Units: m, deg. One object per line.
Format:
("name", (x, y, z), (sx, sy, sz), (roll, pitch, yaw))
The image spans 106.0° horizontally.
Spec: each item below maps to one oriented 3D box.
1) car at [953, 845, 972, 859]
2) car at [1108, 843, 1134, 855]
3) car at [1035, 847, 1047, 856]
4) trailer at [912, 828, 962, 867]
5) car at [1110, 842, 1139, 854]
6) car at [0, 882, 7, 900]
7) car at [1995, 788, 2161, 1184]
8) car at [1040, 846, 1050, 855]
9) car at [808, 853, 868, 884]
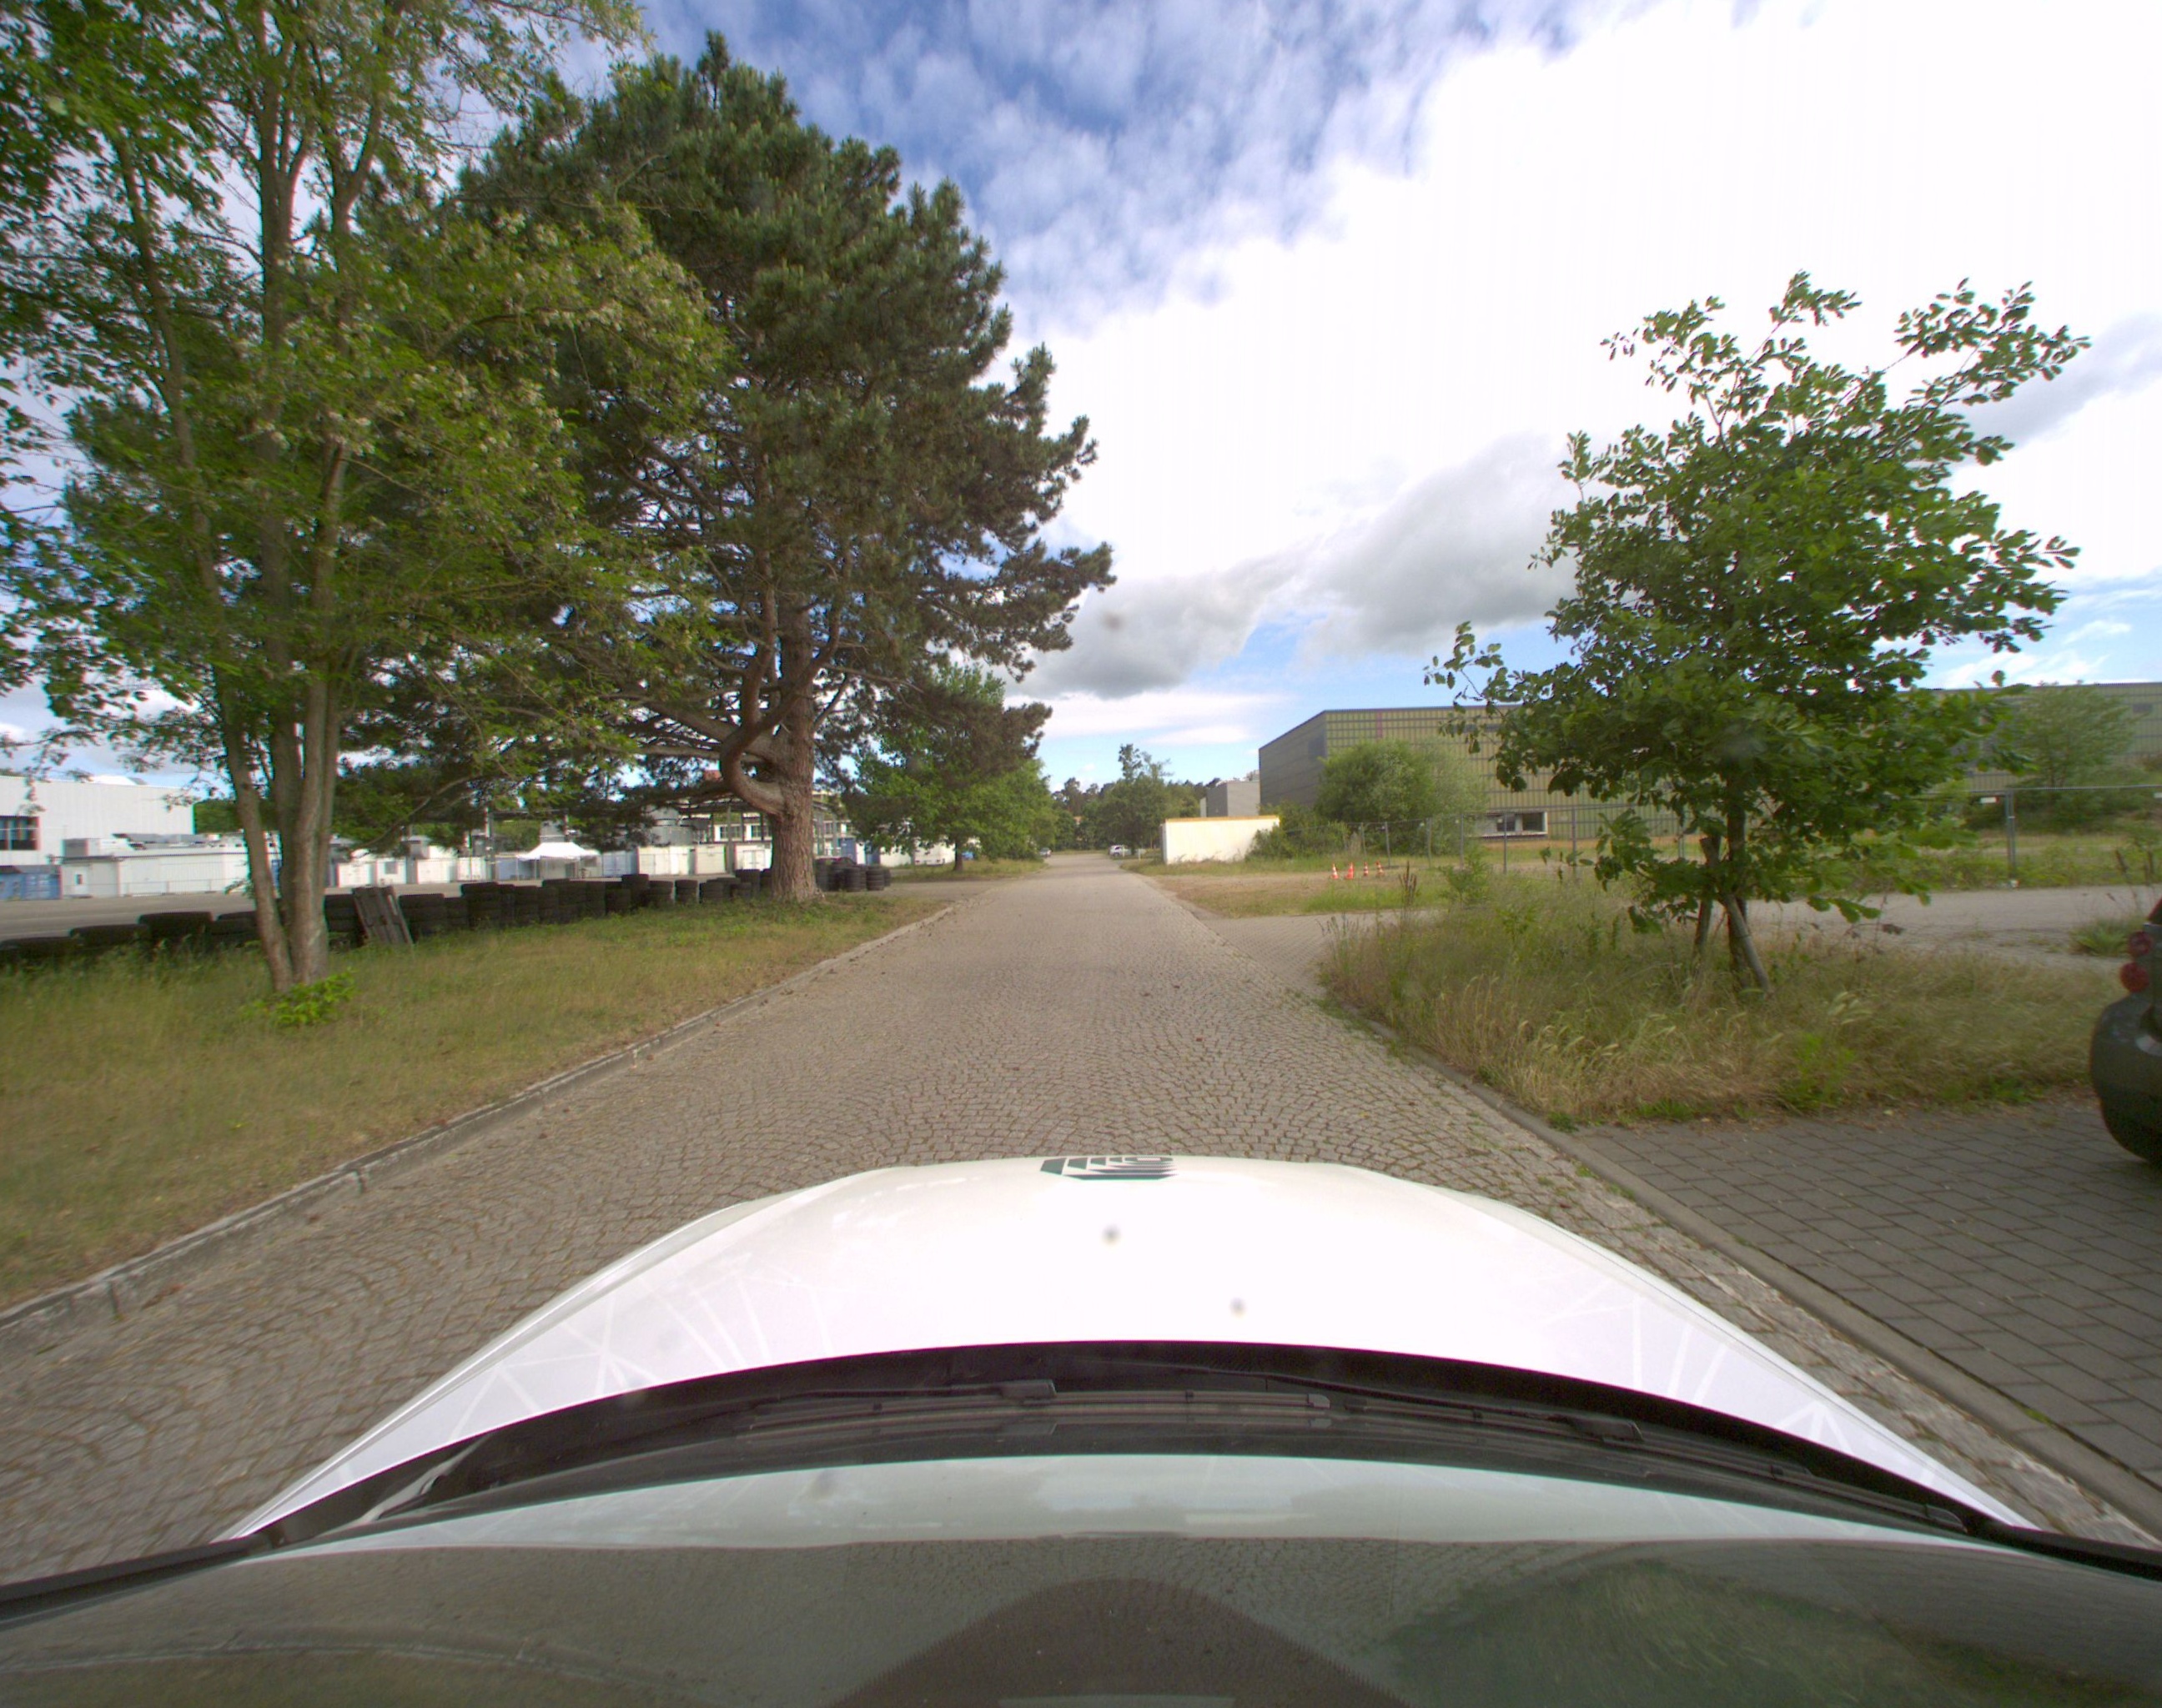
("car", (-17.714, -0.278, 122.169), (1.986, 2.013, 4.768), (-2, 1, 1))
("car", (5.551, -0.699, 112.660), (3.510, 1.362, 1.623), (-4, 0, 1))
("car", (-6.576, -0.406, 134.209), (1.642, 1.369, 3.998), (-2, 1, 1))
("trailer", (-14.416, -0.705, 82.370), (2.615, 3.597, 10.185), (-2, 1, 3))
("car", (6.115, -0.824, 115.354), (3.971, 1.448, 1.653), (-4, 0, 0))
("car", (-102.927, 3.541, 75.568), (4.090, 1.633, 1.831), (-2, 0, 1))
("car", (5.592, 0.439, 2.916), (2.700, 1.556, 1.654), (-4, 1, 1))
("car", (-6.365, -0.584, 144.552), (1.642, 1.458, 3.998), (-2, 1, 1))
("car", (-13.167, 0.747, 44.351), (1.617, 1.433, 4.071), (-2, 1, 6))
